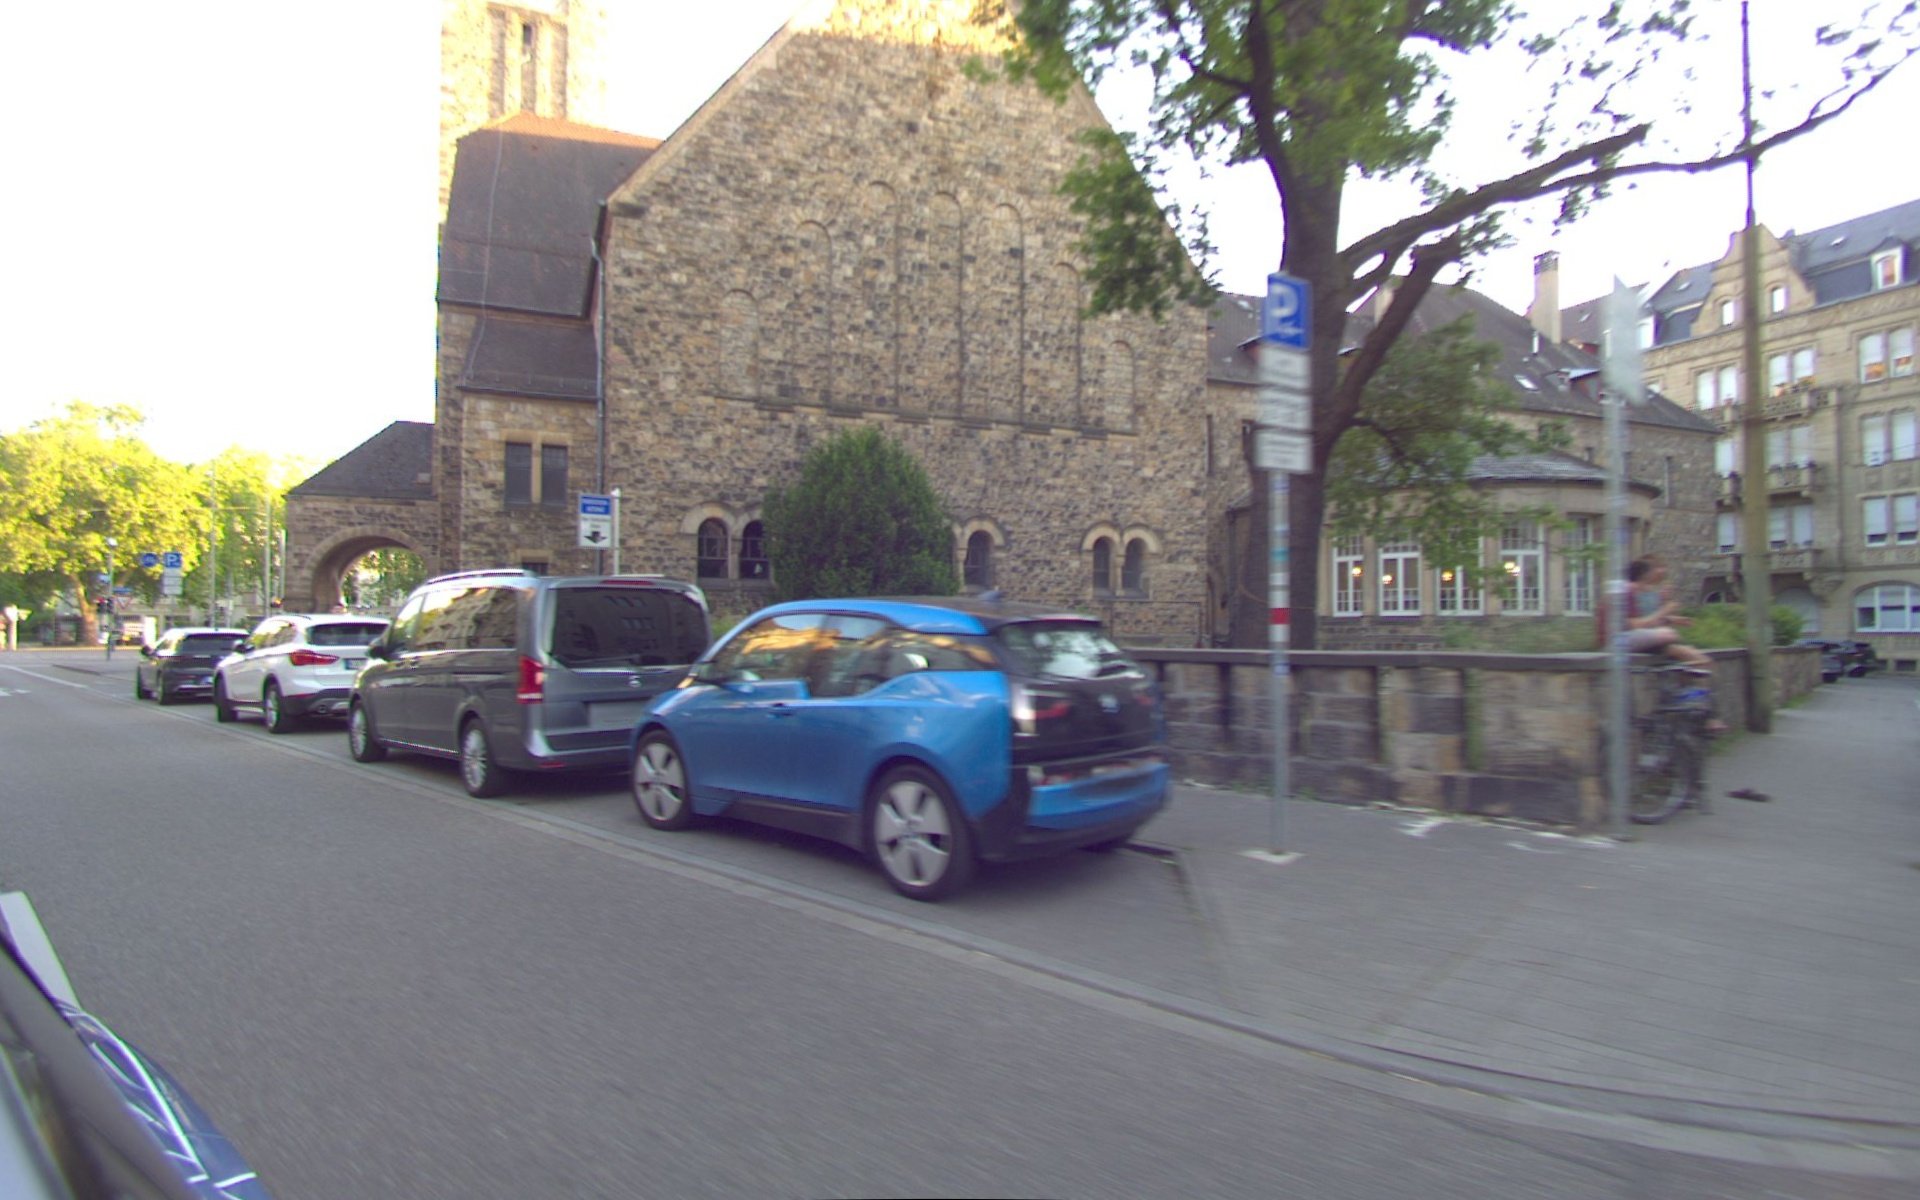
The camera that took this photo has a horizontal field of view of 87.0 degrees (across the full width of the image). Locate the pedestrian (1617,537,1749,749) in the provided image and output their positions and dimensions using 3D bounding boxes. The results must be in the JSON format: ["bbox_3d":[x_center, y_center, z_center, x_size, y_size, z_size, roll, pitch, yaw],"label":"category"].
[{"bbox_3d":[6.317,0.370,8.849,0.836,1.734,0.699,-2,-3,41],"label":"pedestrian"}]

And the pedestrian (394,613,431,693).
[{"bbox_3d":[-11.397,1.096,21.072,0.541,1.634,0.414,-1,-2,3],"label":"pedestrian"}]

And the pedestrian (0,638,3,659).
[{"bbox_3d":[-75.415,3.771,79.106,0.734,1.641,0.662,1,-2,-30],"label":"pedestrian"}]

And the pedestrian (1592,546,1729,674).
[{"bbox_3d":[5.773,0.095,8.342,0.836,0.988,0.699,-2,-3,41],"label":"pedestrian"}]

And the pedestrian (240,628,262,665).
[{"bbox_3d":[-28.646,1.883,40.891,0.541,1.464,0.559,0,-2,-12],"label":"pedestrian"}]

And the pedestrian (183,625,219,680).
[{"bbox_3d":[-24.440,1.678,32.608,0.690,1.738,0.708,-2,-3,33],"label":"pedestrian"}]

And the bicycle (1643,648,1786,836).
[{"bbox_3d":[5.471,0.933,7.282,0.555,1.142,2.115,-2,-3,43],"label":"bicycle"}]

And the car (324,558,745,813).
[{"bbox_3d":[-4.452,0.720,10.038,5.291,1.881,1.971,-2,-3,44],"label":"car"}]

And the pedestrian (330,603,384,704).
[{"bbox_3d":[-11.476,1.011,19.253,0.988,1.871,0.566,-2,-3,40],"label":"pedestrian"}]

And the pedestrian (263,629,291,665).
[{"bbox_3d":[-27.044,1.842,40.080,0.692,1.417,0.633,0,-2,-12],"label":"pedestrian"}]

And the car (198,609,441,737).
[{"bbox_3d":[-9.533,0.997,14.921,4.467,1.604,1.851,-2,-3,41],"label":"car"}]

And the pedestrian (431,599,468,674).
[{"bbox_3d":[-10.708,0.764,21.243,0.641,1.557,0.587,0,-2,-24],"label":"pedestrian"}]

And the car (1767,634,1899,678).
[{"bbox_3d":[36.959,2.336,42.989,1.759,1.752,4.007,0,-2,-8],"label":"car"}]

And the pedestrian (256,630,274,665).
[{"bbox_3d":[-28.131,1.905,40.967,0.395,1.417,0.549,0,-2,-12],"label":"pedestrian"}]

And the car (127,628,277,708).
[{"bbox_3d":[-15.315,1.300,20.364,4.317,1.446,1.763,-2,-3,44],"label":"car"}]

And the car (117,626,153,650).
[{"bbox_3d":[-68.914,3.175,84.584,1.837,2.029,3.821,1,-3,-32],"label":"car"}]

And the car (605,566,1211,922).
[{"bbox_3d":[-0.590,0.703,6.482,1.621,1.567,4.006,1,-3,-45],"label":"car"}]

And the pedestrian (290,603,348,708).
[{"bbox_3d":[-11.861,1.012,18.721,0.890,1.894,0.640,-2,-3,40],"label":"pedestrian"}]

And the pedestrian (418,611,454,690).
[{"bbox_3d":[-11.335,1.096,21.909,0.541,1.687,0.414,-1,-2,3],"label":"pedestrian"}]

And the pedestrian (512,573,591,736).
[{"bbox_3d":[-5.013,0.658,12.428,0.802,1.920,0.576,-2,-3,40],"label":"pedestrian"}]
